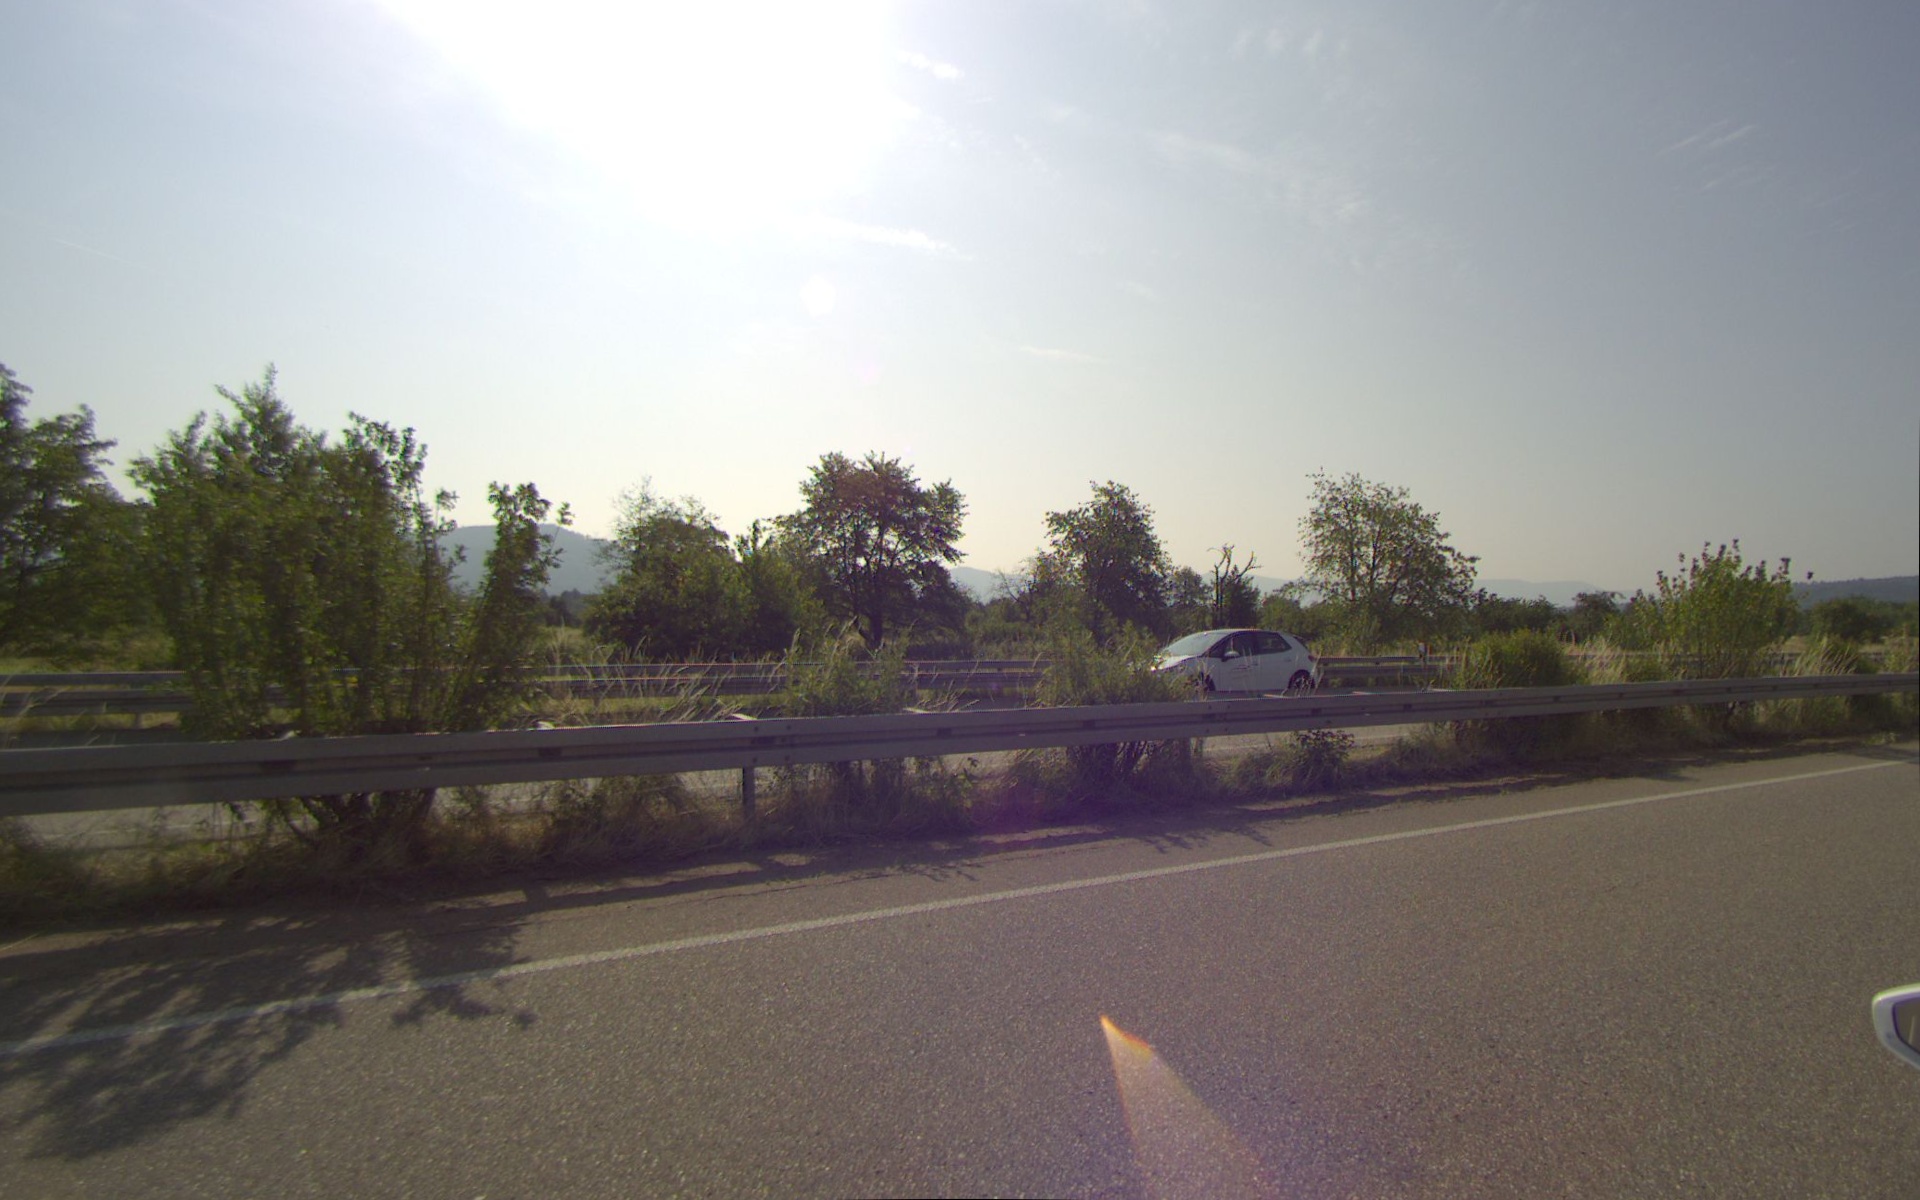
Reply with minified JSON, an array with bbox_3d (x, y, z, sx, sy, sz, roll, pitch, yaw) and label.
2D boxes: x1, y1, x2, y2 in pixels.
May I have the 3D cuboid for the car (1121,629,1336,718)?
[{"bbox_3d":[5.328,1.381,19.793,4.139,1.547,1.684,1,-1,-30],"label":"car"}]
